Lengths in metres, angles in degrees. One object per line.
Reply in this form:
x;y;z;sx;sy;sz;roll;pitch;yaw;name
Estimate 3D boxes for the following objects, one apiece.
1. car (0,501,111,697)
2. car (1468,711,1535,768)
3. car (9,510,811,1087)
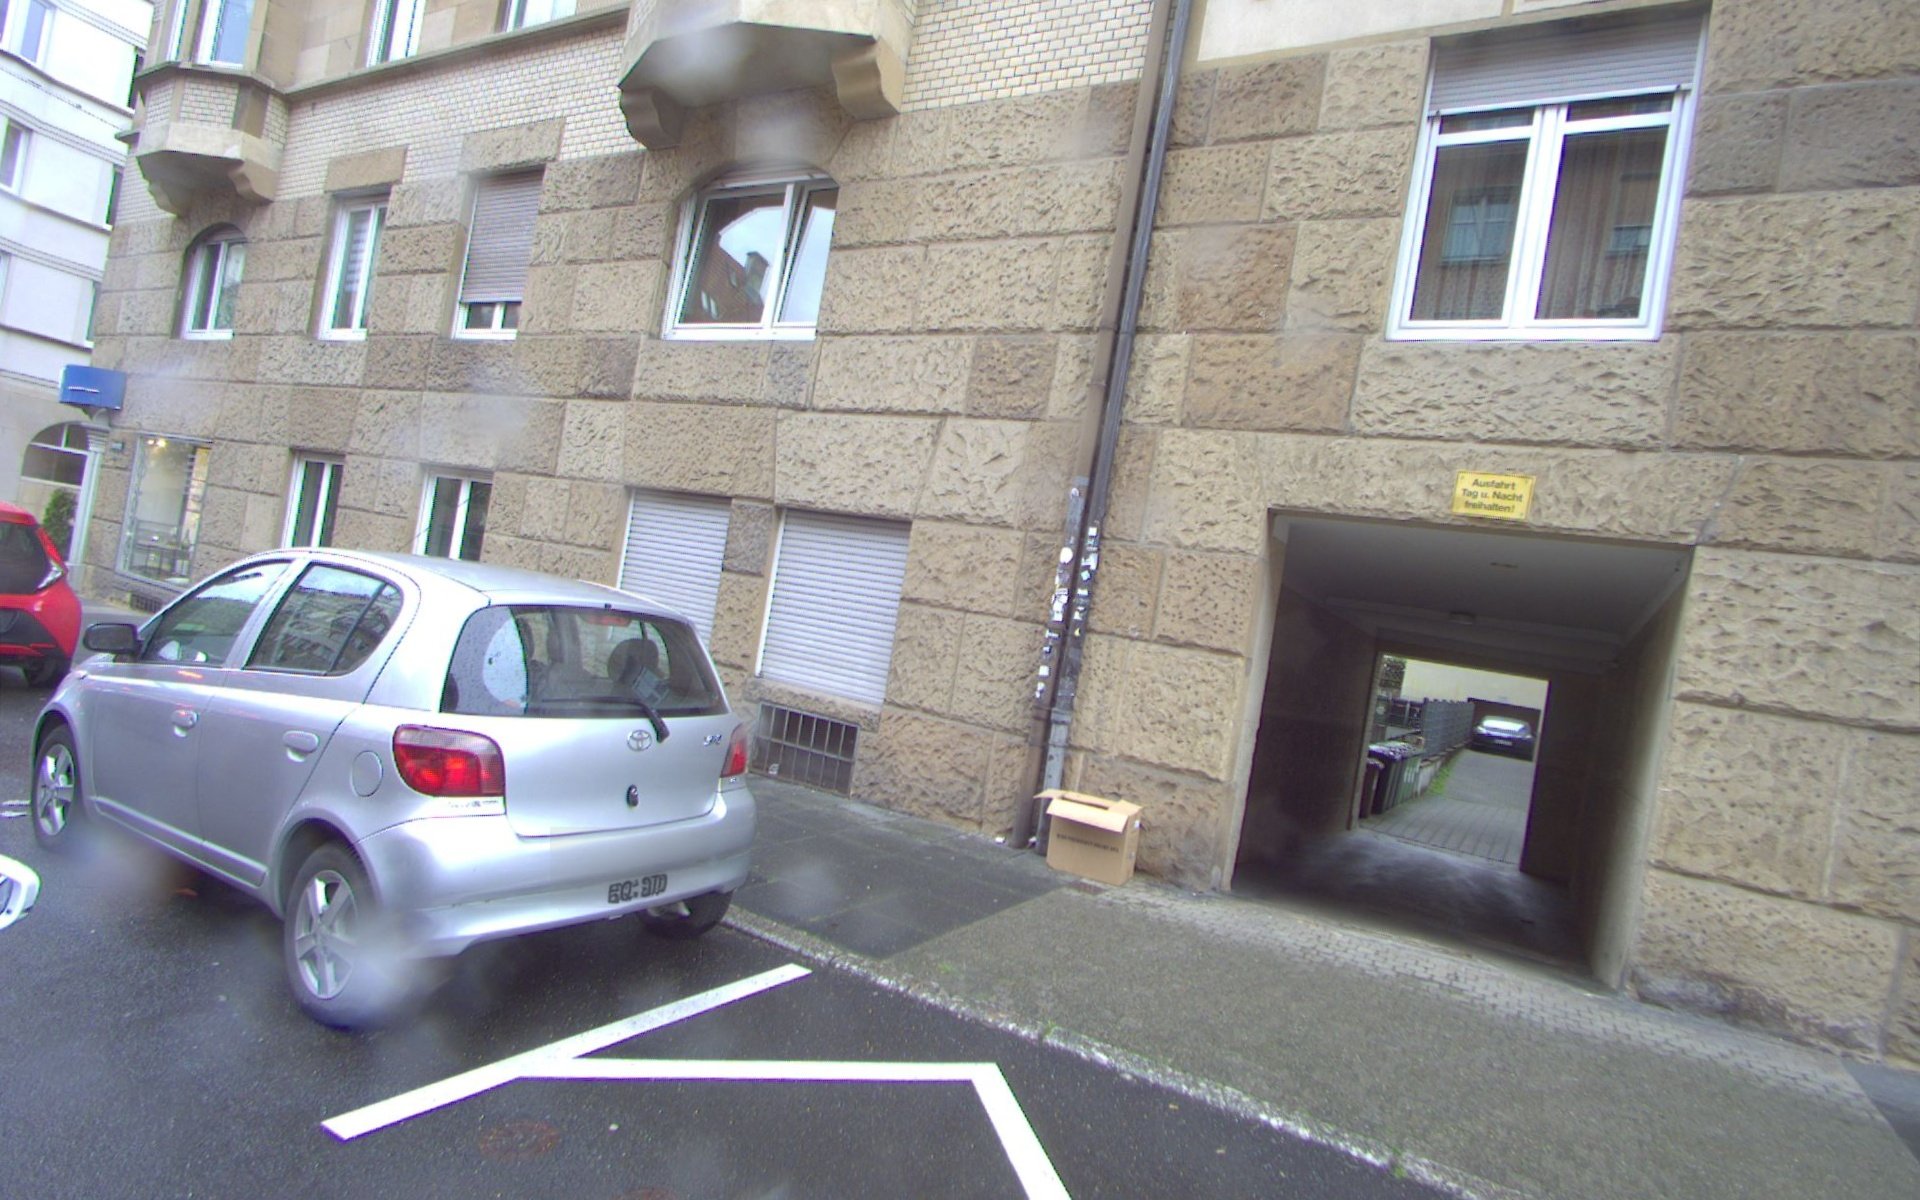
-8.740;-0.196;8.188;3.243;1.464;1.646;7;-2;29;car
18.334;4.696;33.952;1.693;1.538;4.102;7;-3;31;car
-2.492;0.550;4.410;3.258;1.485;1.616;7;-1;33;car
